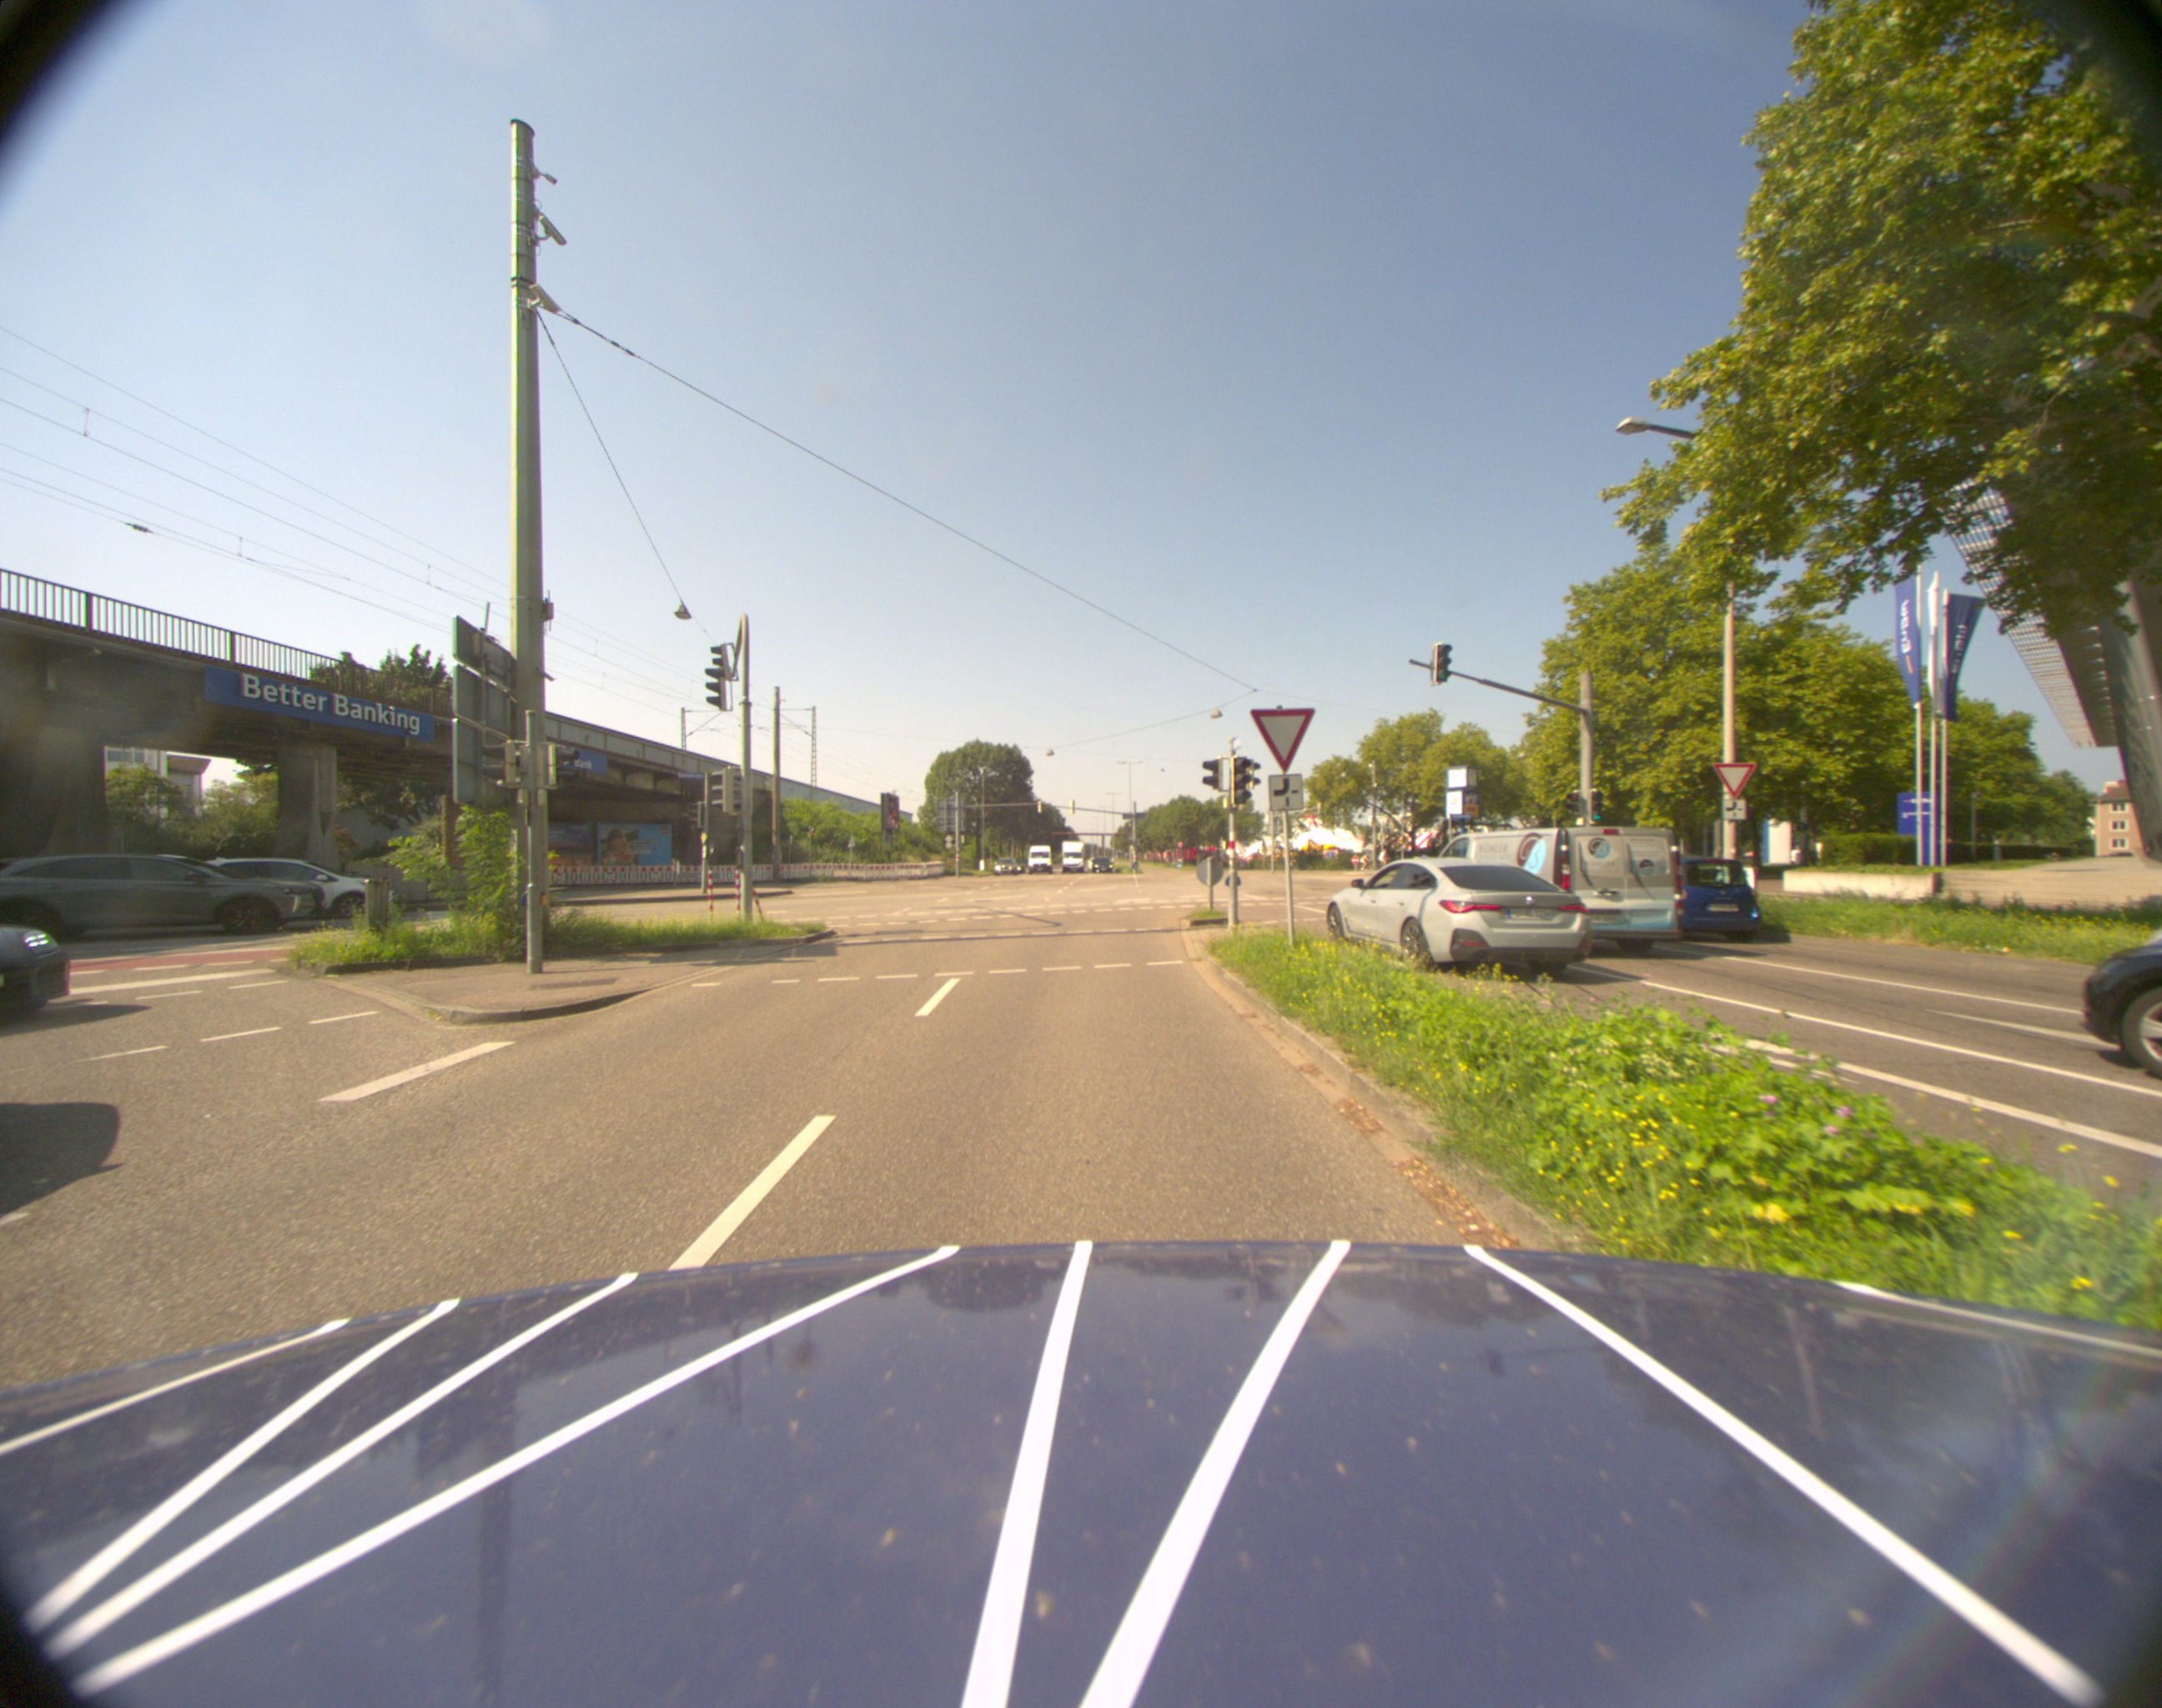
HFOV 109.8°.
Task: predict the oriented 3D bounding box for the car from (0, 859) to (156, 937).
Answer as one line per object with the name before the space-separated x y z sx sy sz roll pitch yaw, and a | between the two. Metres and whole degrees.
car | -22.630 0.884 15.542 4.357 1.563 1.995 2 -2 -39

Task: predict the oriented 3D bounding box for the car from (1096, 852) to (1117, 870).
car | 2.528 0.689 74.582 1.905 1.603 5.198 -2 -2 2

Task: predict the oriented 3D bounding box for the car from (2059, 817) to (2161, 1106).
car | 7.766 0.729 2.984 1.722 1.838 4.702 1 1 0

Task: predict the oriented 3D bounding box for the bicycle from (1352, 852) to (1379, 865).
bicycle | 23.602 0.391 63.060 0.773 1.081 2.259 -1 -1 -19

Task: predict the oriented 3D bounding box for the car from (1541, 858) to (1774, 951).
car | 10.905 0.865 14.744 1.672 1.526 3.730 1 0 0

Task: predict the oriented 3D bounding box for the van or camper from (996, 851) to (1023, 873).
van or camper | -6.208 0.712 66.493 1.850 1.765 4.176 -2 -2 0

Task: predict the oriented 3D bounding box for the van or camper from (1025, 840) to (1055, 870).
van or camper | -3.688 0.151 69.466 2.248 2.467 6.867 -2 -2 0

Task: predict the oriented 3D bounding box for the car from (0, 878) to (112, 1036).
car | -12.786 1.007 7.264 4.881 1.455 2.000 0 2 6

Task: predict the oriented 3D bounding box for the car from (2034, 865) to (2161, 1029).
car | 11.000 0.915 5.882 1.784 1.502 4.257 1 1 -2

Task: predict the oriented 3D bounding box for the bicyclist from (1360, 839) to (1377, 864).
bicyclist | 23.742 -0.162 62.742 0.598 2.001 1.203 -2 -1 -17

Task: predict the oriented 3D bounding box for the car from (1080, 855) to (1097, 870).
car | 0.867 1.013 88.910 1.655 1.654 3.758 -2 -2 4

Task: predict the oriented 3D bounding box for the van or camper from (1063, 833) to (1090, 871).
van or camper | -0.371 -0.100 73.823 2.247 3.341 6.854 -2 -2 2

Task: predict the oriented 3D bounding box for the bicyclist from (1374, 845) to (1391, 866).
bicyclist | 23.526 0.136 59.248 0.598 1.584 1.204 -2 -2 -12

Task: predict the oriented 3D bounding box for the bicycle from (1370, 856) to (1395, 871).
bicycle | 23.502 0.758 59.285 0.773 1.080 2.219 -1 -2 -11

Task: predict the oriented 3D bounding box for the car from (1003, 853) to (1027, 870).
car | -6.309 0.709 73.001 1.999 1.543 3.999 -2 0 -2

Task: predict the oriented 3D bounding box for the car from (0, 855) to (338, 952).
car | -18.051 0.874 15.027 4.482 1.608 1.902 -1 2 -33

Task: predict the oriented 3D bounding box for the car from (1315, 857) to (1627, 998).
car | 4.965 0.814 10.580 1.840 1.435 4.605 1 1 -2

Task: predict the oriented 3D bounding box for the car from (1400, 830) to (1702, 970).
car | 7.679 0.653 13.244 1.932 1.946 5.212 0 0 -2

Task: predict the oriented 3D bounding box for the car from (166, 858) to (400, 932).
car | -19.039 0.905 18.396 3.703 1.529 1.722 -1 1 -39

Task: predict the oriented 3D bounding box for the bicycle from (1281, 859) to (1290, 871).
bicycle | 17.970 0.956 66.732 0.571 1.049 1.496 -3 -2 20

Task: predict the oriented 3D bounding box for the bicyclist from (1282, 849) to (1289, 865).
bicyclist | 18.044 0.280 66.983 0.502 1.356 0.698 -3 -2 22
